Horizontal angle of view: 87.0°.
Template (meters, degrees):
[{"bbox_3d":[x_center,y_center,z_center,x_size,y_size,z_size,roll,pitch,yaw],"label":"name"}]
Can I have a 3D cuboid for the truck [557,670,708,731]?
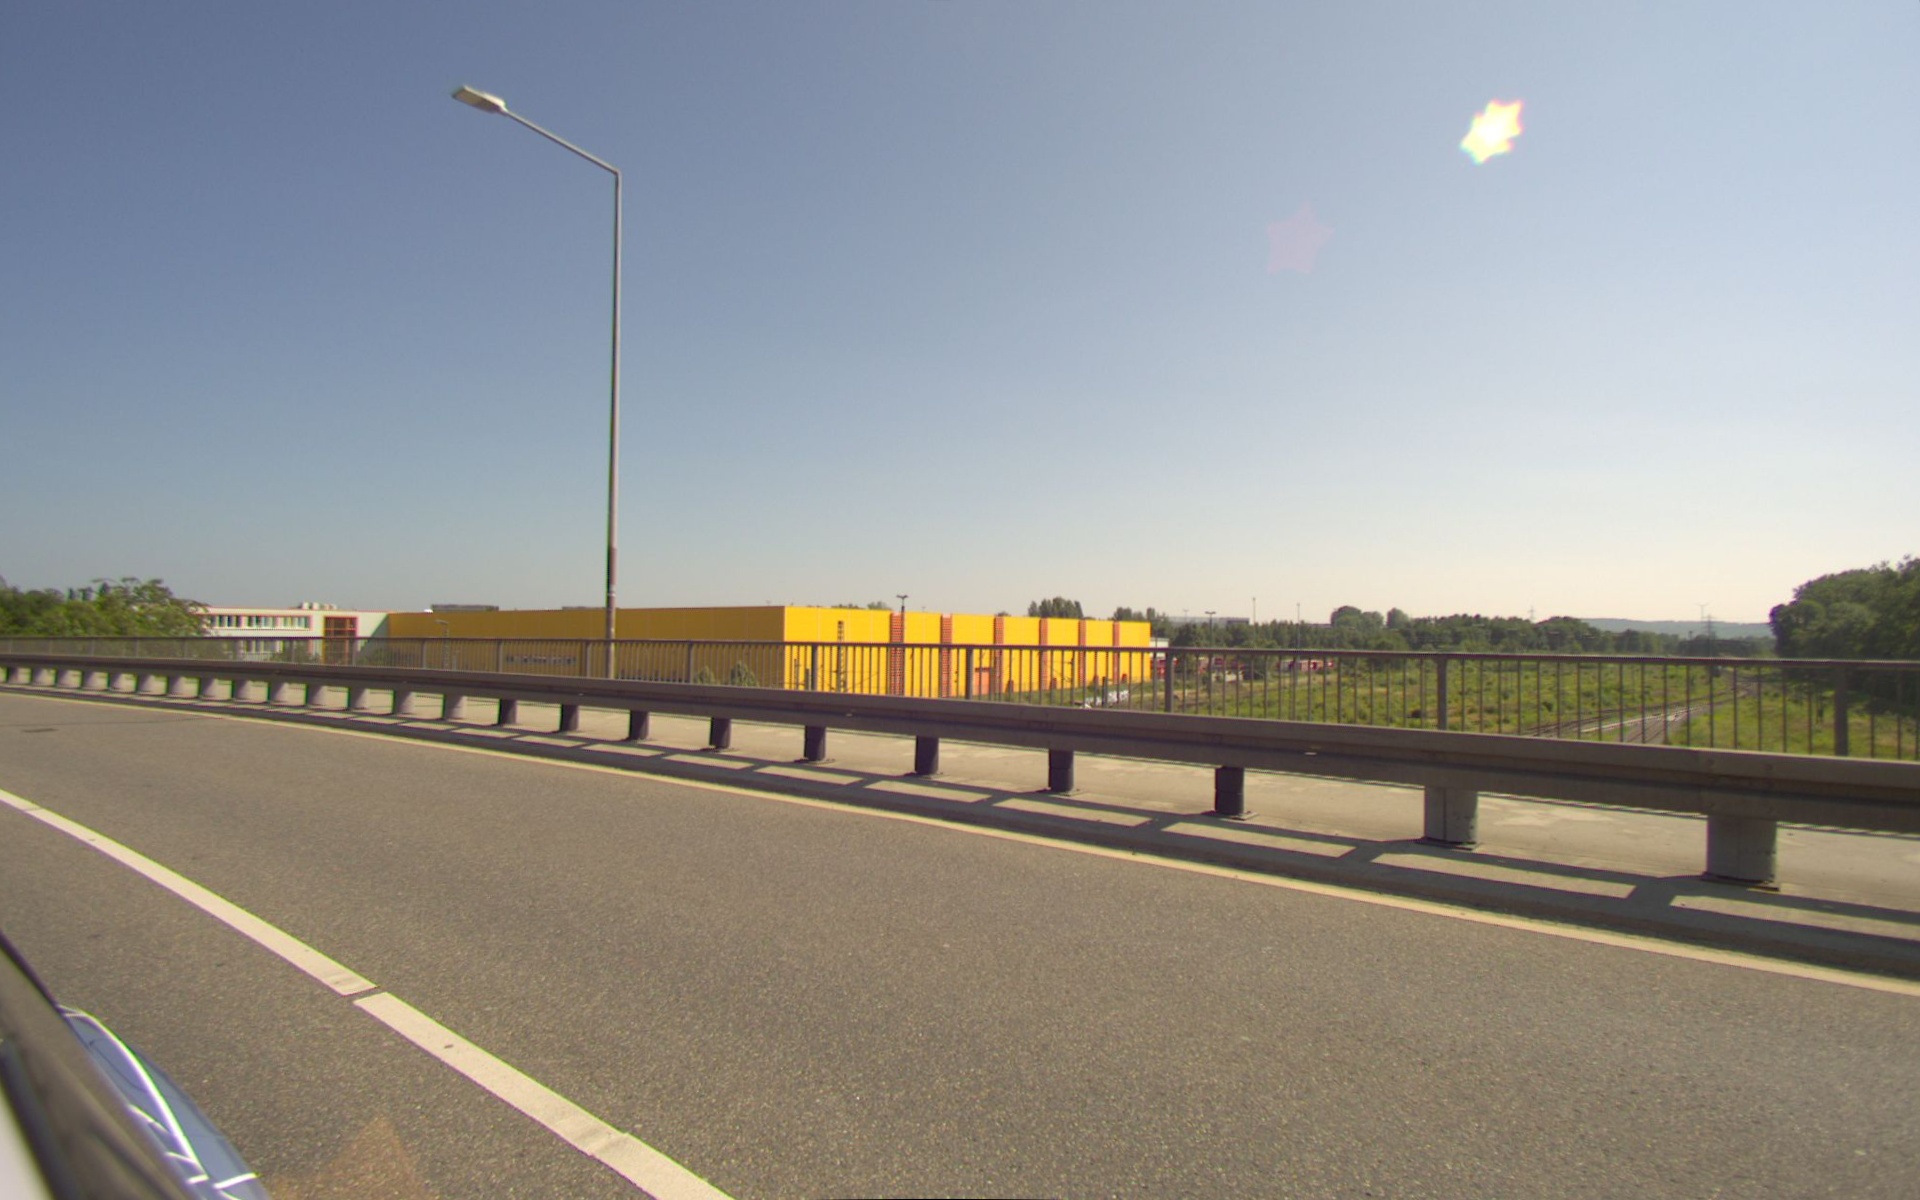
[{"bbox_3d":[-38.686,11.687,120.683,5.959,5.719,17.350,-1,-1,33],"label":"truck"}]

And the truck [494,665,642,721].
[{"bbox_3d":[-49.130,11.534,127.819,5.959,5.719,17.350,-1,-1,33],"label":"truck"}]
